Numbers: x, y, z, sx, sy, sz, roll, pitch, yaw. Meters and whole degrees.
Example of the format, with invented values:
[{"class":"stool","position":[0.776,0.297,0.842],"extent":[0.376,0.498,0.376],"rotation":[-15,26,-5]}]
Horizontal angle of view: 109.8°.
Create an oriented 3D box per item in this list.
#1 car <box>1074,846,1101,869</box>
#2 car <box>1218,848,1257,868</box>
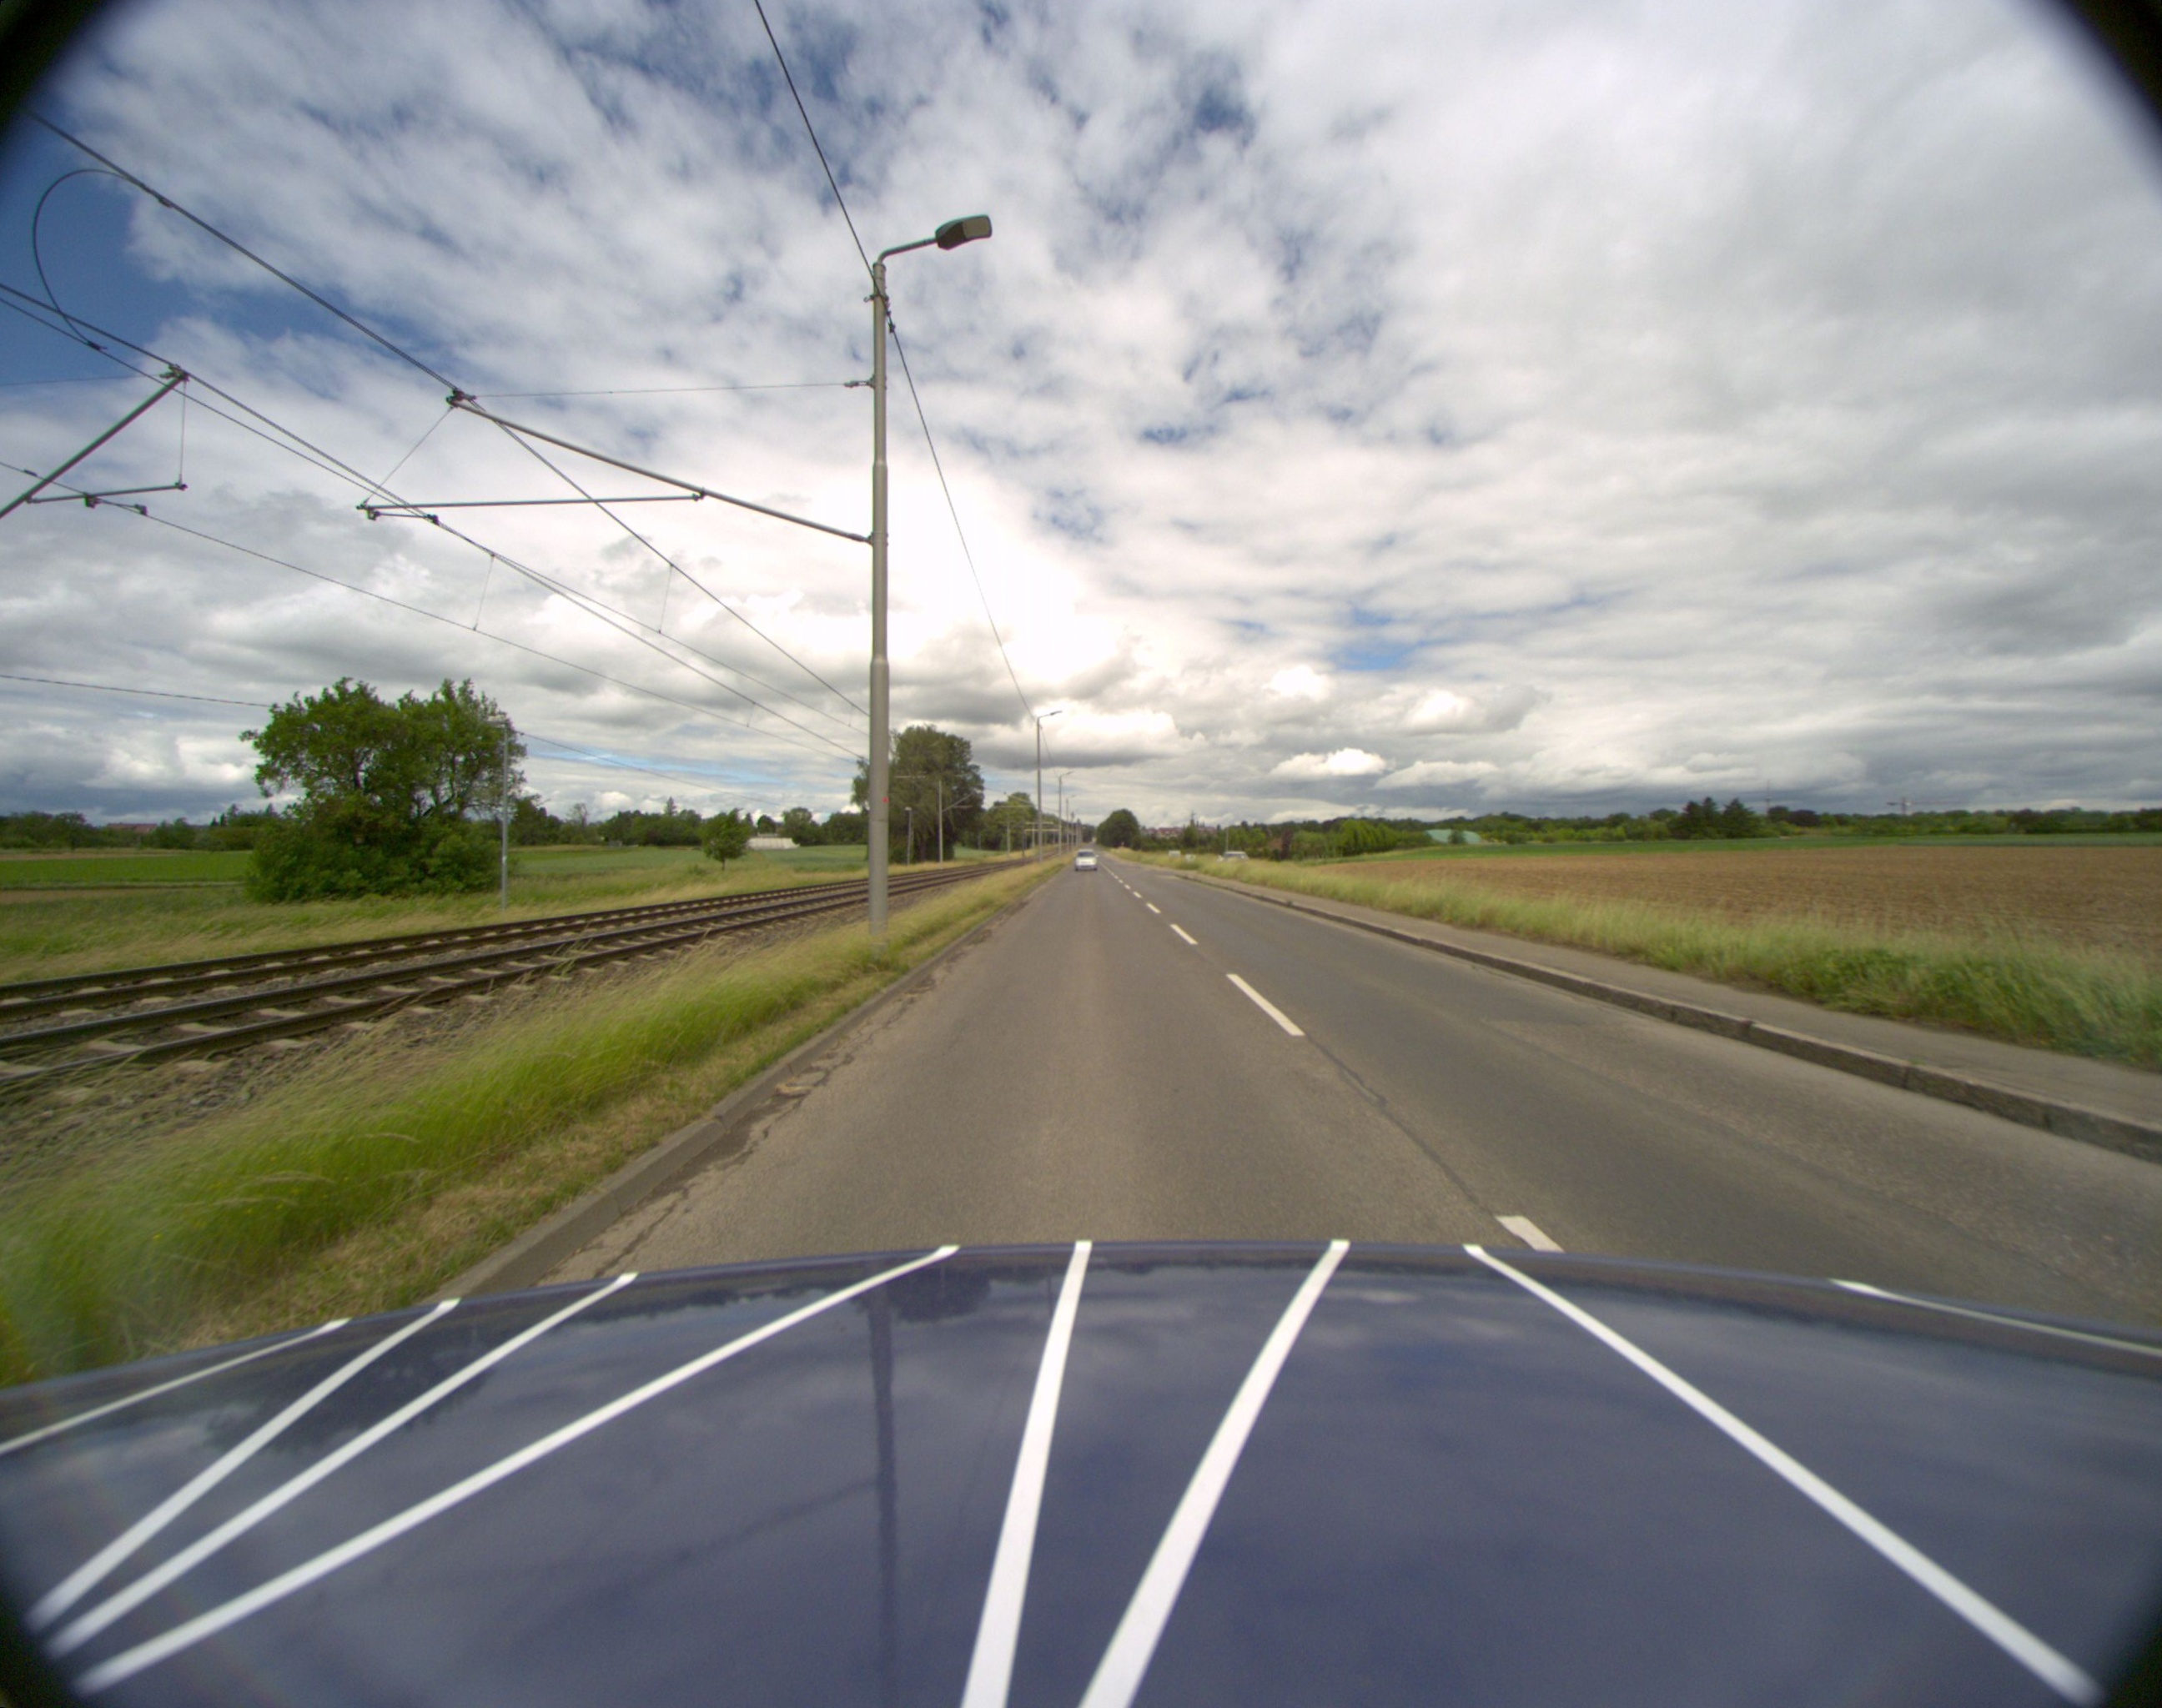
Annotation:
[{"class":"car","position":[0.497,0.250,58.937],"extent":[1.999,1.679,3.999],"rotation":[-1,1,-1]},{"class":"car","position":[12.427,0.351,60.072],"extent":[1.970,1.445,4.008],"rotation":[-1,-1,28]}]
